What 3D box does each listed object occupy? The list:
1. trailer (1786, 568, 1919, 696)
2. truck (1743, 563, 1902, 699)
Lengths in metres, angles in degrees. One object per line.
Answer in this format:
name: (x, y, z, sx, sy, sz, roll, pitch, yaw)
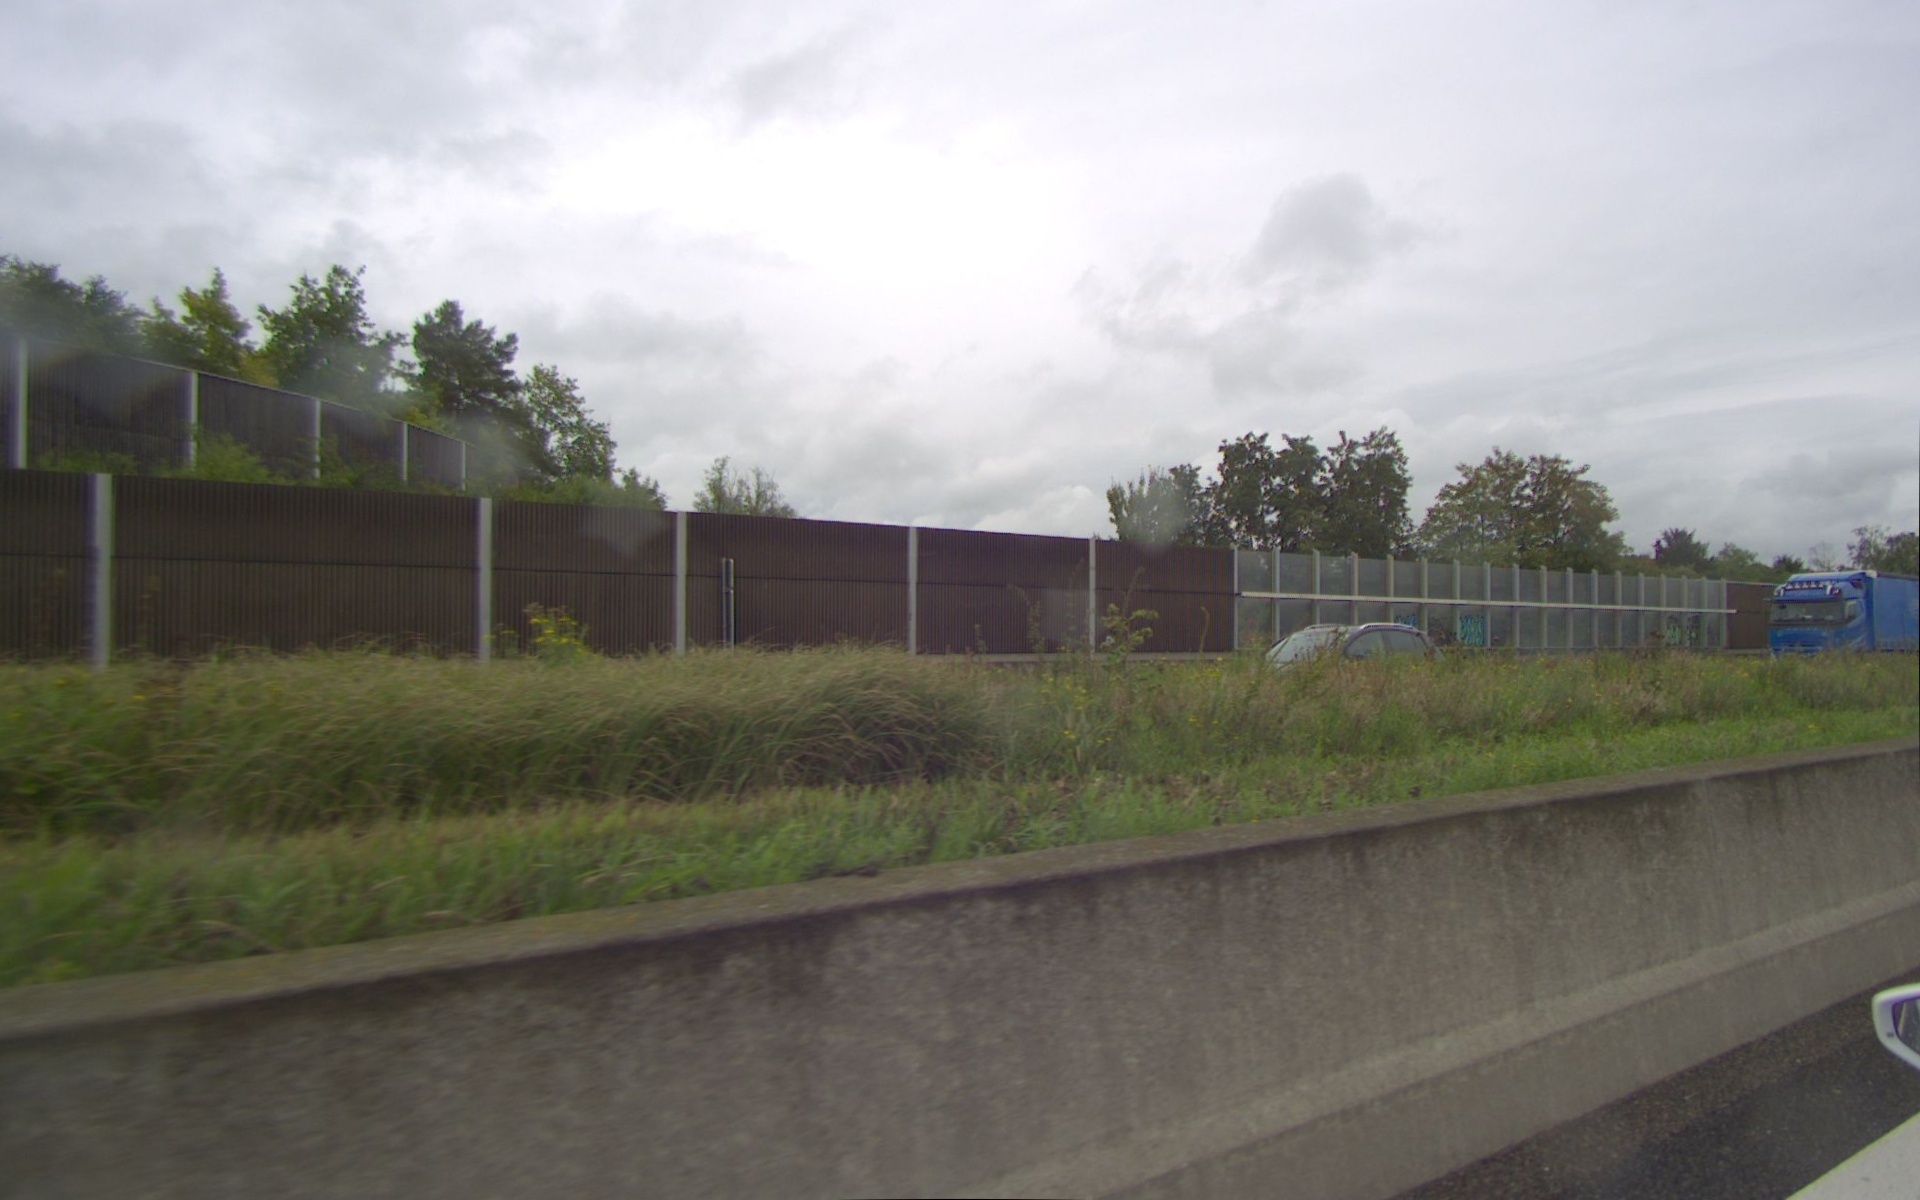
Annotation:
trailer: (40.572, 1.359, 43.625, 13.378, 4.950, 3.199, 1, 0, -32)
truck: (33.683, 1.159, 39.217, 5.357, 4.923, 3.171, 1, 0, -31)
